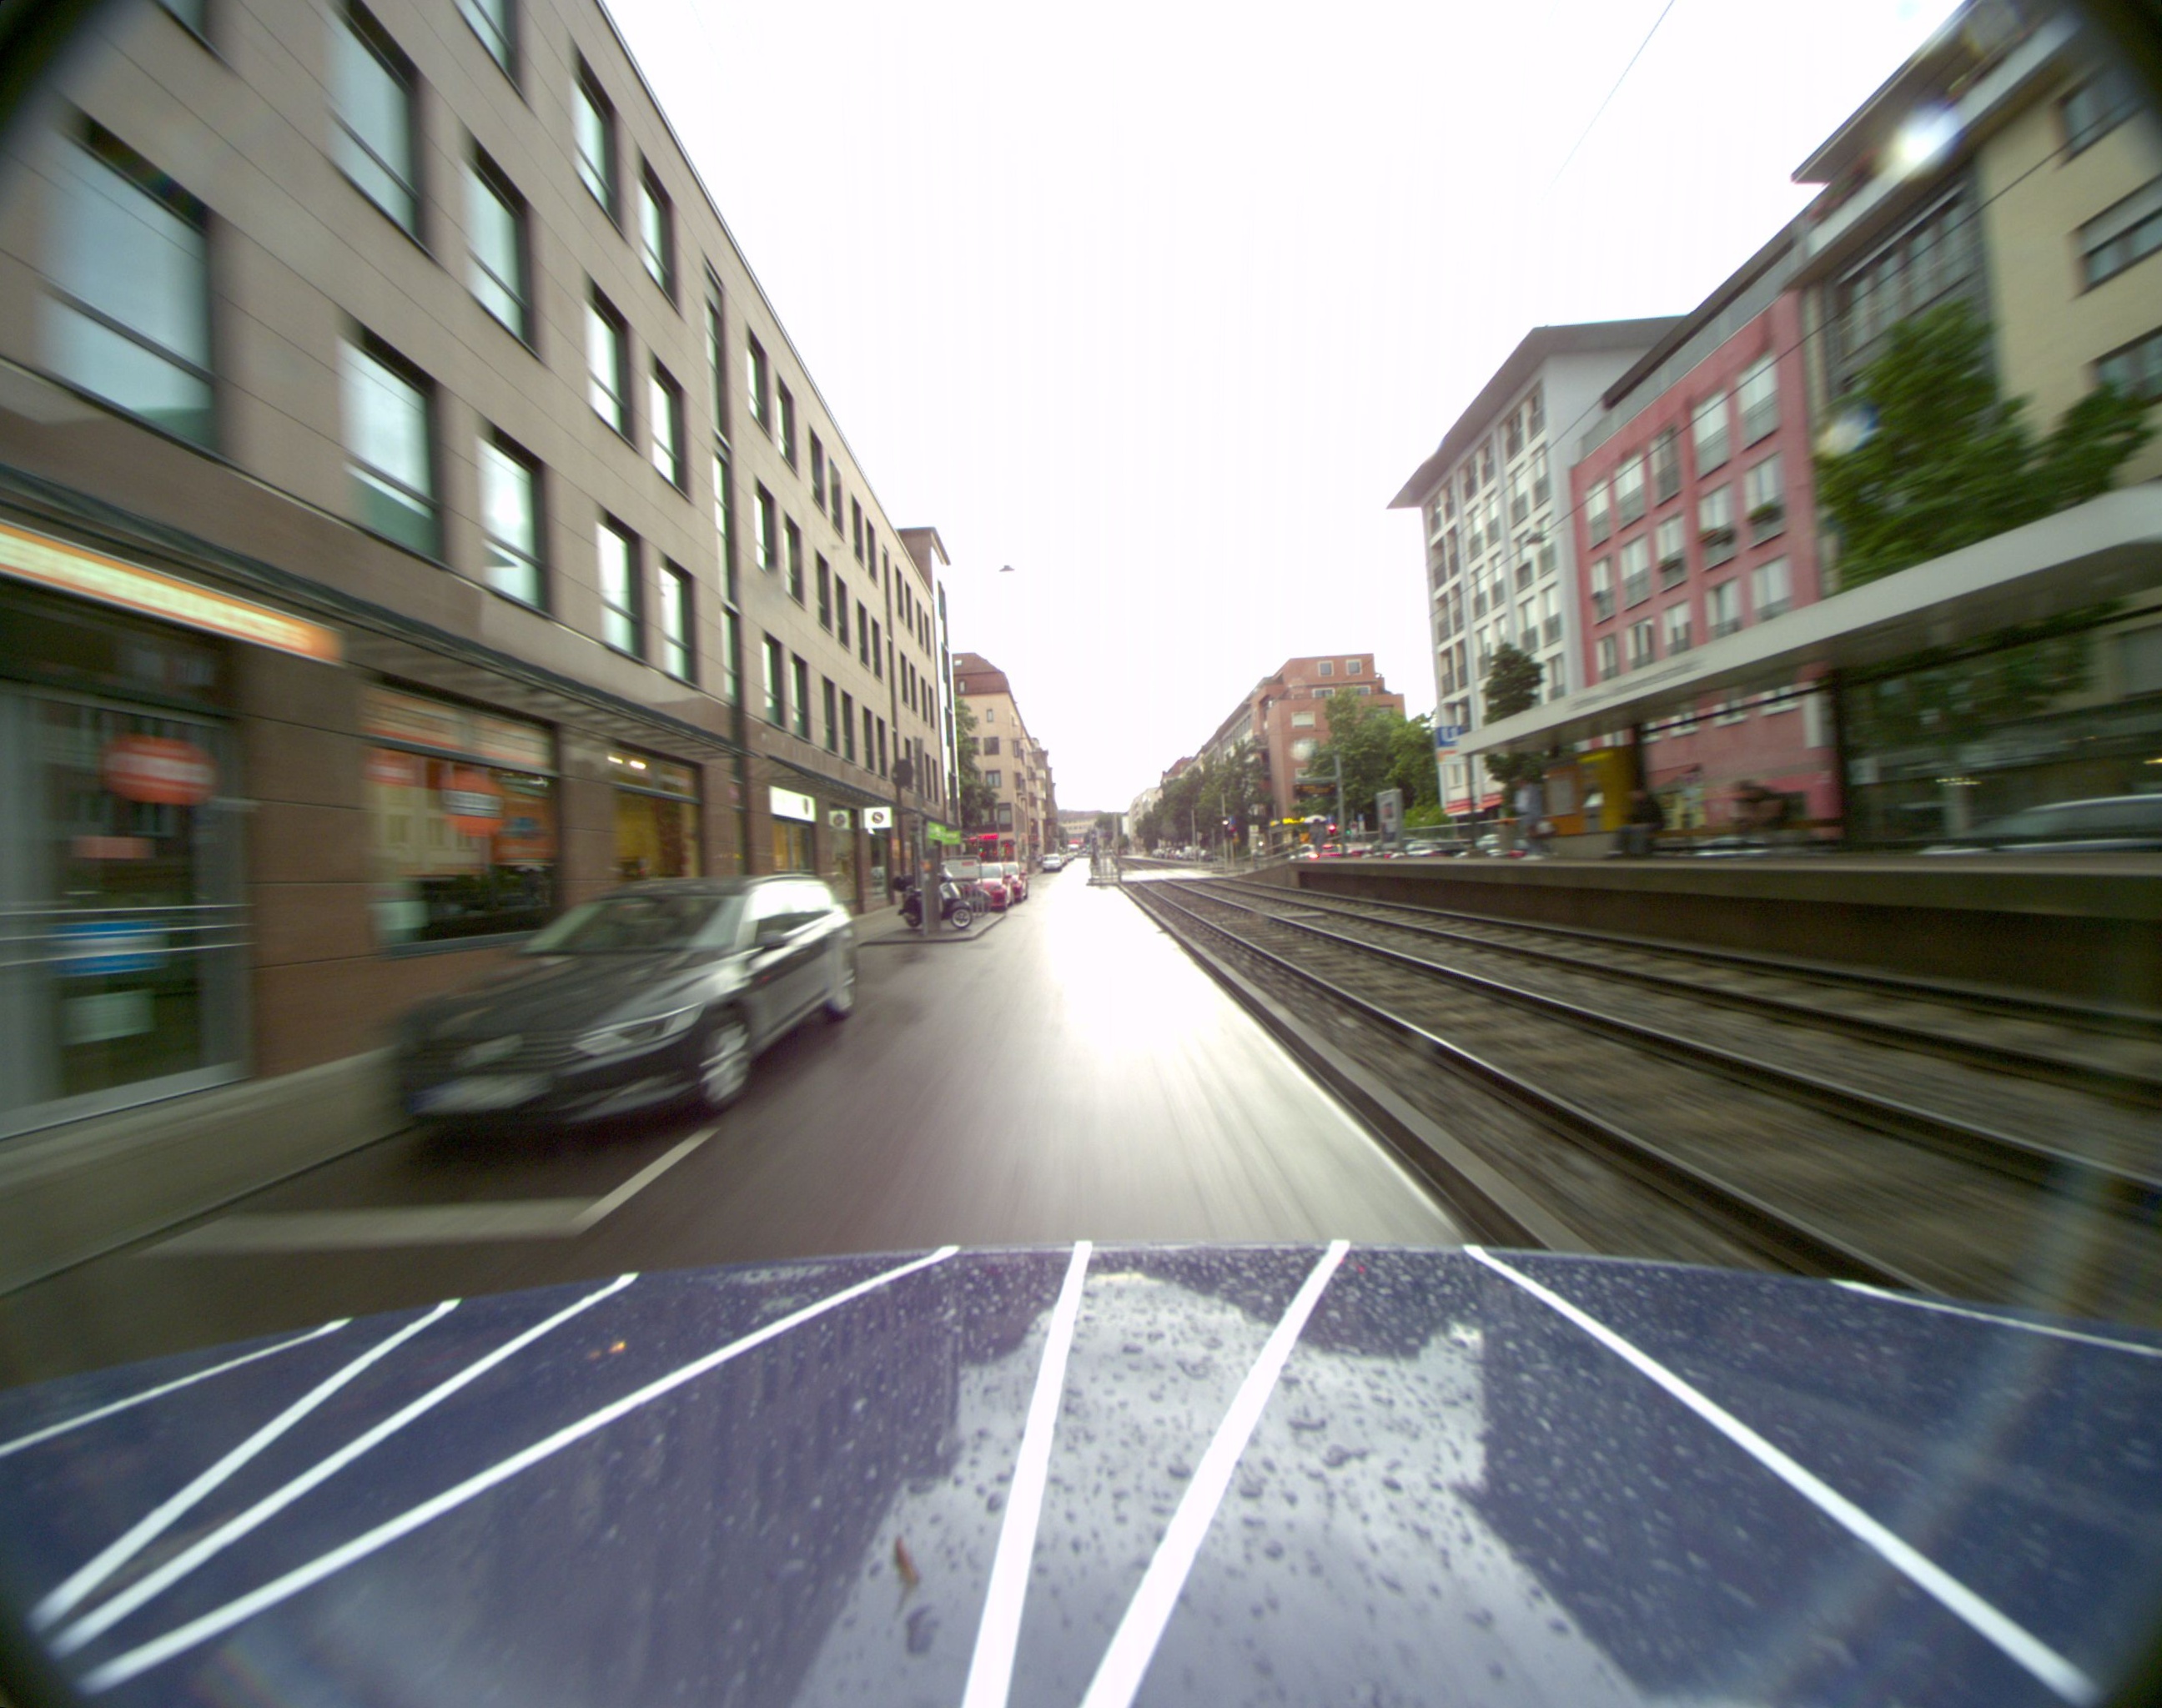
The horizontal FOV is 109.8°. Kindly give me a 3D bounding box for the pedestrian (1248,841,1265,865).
[{"bbox_3d":[12.812,-0.063,55.557,0.821,1.687,0.985,-5,1,-8],"label":"pedestrian"}]

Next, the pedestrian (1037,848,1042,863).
[{"bbox_3d":[-5.230,0.150,95.171,0.530,1.848,0.556,-3,2,-7],"label":"pedestrian"}]

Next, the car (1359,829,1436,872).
[{"bbox_3d":[15.024,-0.156,36.341,1.712,1.847,4.319,-3,0,-2],"label":"car"}]

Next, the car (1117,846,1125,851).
[{"bbox_3d":[11.385,-1.612,214.651,1.696,1.454,4.529,-3,1,-2],"label":"car"}]

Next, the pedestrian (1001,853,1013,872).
[{"bbox_3d":[-6.555,0.765,67.169,0.723,1.640,0.627,-1,2,41],"label":"pedestrian"}]

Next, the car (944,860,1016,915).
[{"bbox_3d":[-3.045,0.967,23.693,1.703,1.454,3.866,-1,1,0],"label":"car"}]

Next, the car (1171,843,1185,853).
[{"bbox_3d":[15.087,-0.937,118.713,1.643,1.530,3.803,-3,1,-1],"label":"car"}]

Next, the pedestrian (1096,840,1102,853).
[{"bbox_3d":[2.227,-0.921,93.166,0.585,1.600,0.701,-3,1,-2],"label":"pedestrian"}]

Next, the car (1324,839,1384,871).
[{"bbox_3d":[14.995,0.054,41.953,1.730,1.602,4.553,-3,0,2],"label":"car"}]

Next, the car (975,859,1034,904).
[{"bbox_3d":[-2.824,0.991,28.925,1.702,1.471,3.867,-1,1,2],"label":"car"}]

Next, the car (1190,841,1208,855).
[{"bbox_3d":[14.845,-0.775,95.719,1.642,1.527,4.370,-3,1,1],"label":"car"}]

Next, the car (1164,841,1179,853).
[{"bbox_3d":[14.816,-1.148,124.490,1.678,1.807,4.431,-3,1,-1],"label":"car"}]

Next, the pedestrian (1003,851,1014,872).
[{"bbox_3d":[-6.448,0.662,67.939,0.665,1.809,0.597,-1,2,41],"label":"pedestrian"}]

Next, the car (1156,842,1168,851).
[{"bbox_3d":[15.039,-1.345,141.584,1.662,1.575,4.337,-3,1,-1],"label":"car"}]

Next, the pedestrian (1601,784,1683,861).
[{"bbox_3d":[9.530,-0.524,12.941,0.694,1.242,0.884,-3,1,-2],"label":"pedestrian"}]

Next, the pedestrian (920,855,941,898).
[{"bbox_3d":[-6.043,0.896,30.516,0.603,1.650,0.625,-2,1,1],"label":"pedestrian"}]

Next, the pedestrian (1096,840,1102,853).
[{"bbox_3d":[2.172,-0.907,92.457,0.585,1.549,0.701,-3,1,-2],"label":"pedestrian"}]

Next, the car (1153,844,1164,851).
[{"bbox_3d":[15.026,-1.279,147.664,1.718,1.367,4.457,-3,1,2],"label":"car"}]

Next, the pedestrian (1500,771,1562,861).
[{"bbox_3d":[8.915,-0.734,15.072,0.657,1.701,0.850,-3,1,-2],"label":"pedestrian"}]

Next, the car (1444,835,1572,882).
[{"bbox_3d":[14.735,0.137,26.525,1.846,1.428,4.318,-3,0,-3],"label":"car"}]

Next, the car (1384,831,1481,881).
[{"bbox_3d":[14.409,0.067,31.449,1.807,1.847,4.379,-3,0,-2],"label":"car"}]

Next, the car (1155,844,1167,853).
[{"bbox_3d":[14.241,-1.032,135.550,1.642,1.529,4.022,-3,1,1],"label":"car"}]

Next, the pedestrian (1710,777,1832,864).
[{"bbox_3d":[9.477,-0.443,10.466,0.895,1.117,0.849,-3,1,-10],"label":"pedestrian"}]

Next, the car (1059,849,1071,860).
[{"bbox_3d":[-2.312,0.117,109.938,1.649,1.454,3.413,-3,1,1],"label":"car"}]

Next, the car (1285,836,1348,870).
[{"bbox_3d":[12.219,-0.077,39.777,1.811,1.569,5.020,-3,0,1],"label":"car"}]

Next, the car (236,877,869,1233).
[{"bbox_3d":[-3.165,1.033,5.957,1.779,1.460,4.608,-3,0,-2],"label":"car"}]

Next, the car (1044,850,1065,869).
[{"bbox_3d":[-2.684,0.522,77.559,1.911,1.796,4.776,-3,1,-1],"label":"car"}]

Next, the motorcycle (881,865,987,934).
[{"bbox_3d":[-3.194,0.984,16.521,2.086,1.399,0.800,-2,1,19],"label":"motorcycle"}]

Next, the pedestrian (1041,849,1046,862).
[{"bbox_3d":[-4.783,0.157,96.046,0.546,1.671,0.595,-3,2,-7],"label":"pedestrian"}]

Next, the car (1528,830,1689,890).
[{"bbox_3d":[14.516,0.140,21.206,1.572,1.428,3.978,-3,0,-3],"label":"car"}]

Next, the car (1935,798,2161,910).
[{"bbox_3d":[14.459,-0.041,10.255,1.572,1.428,3.735,-3,0,-3],"label":"car"}]

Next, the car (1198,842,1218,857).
[{"bbox_3d":[14.880,-0.509,89.468,1.642,1.614,4.370,-3,1,1],"label":"car"}]

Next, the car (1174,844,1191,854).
[{"bbox_3d":[14.802,-0.755,110.835,1.696,1.454,4.529,-3,1,-2],"label":"car"}]

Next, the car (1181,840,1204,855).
[{"bbox_3d":[14.929,-0.905,101.821,1.912,1.834,5.255,-3,1,-3],"label":"car"}]

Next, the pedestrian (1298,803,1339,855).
[{"bbox_3d":[9.506,-0.993,30.467,1.119,2.002,1.383,-2,1,0],"label":"pedestrian"}]

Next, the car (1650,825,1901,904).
[{"bbox_3d":[14.728,0.188,16.466,1.678,1.428,3.978,-3,0,-3],"label":"car"}]

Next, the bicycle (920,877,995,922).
[{"bbox_3d":[-3.138,1.159,19.419,1.791,1.025,0.462,-2,1,0],"label":"bicycle"}]

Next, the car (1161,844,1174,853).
[{"bbox_3d":[14.774,-0.978,130.141,1.643,1.432,4.728,-3,1,-1],"label":"car"}]
